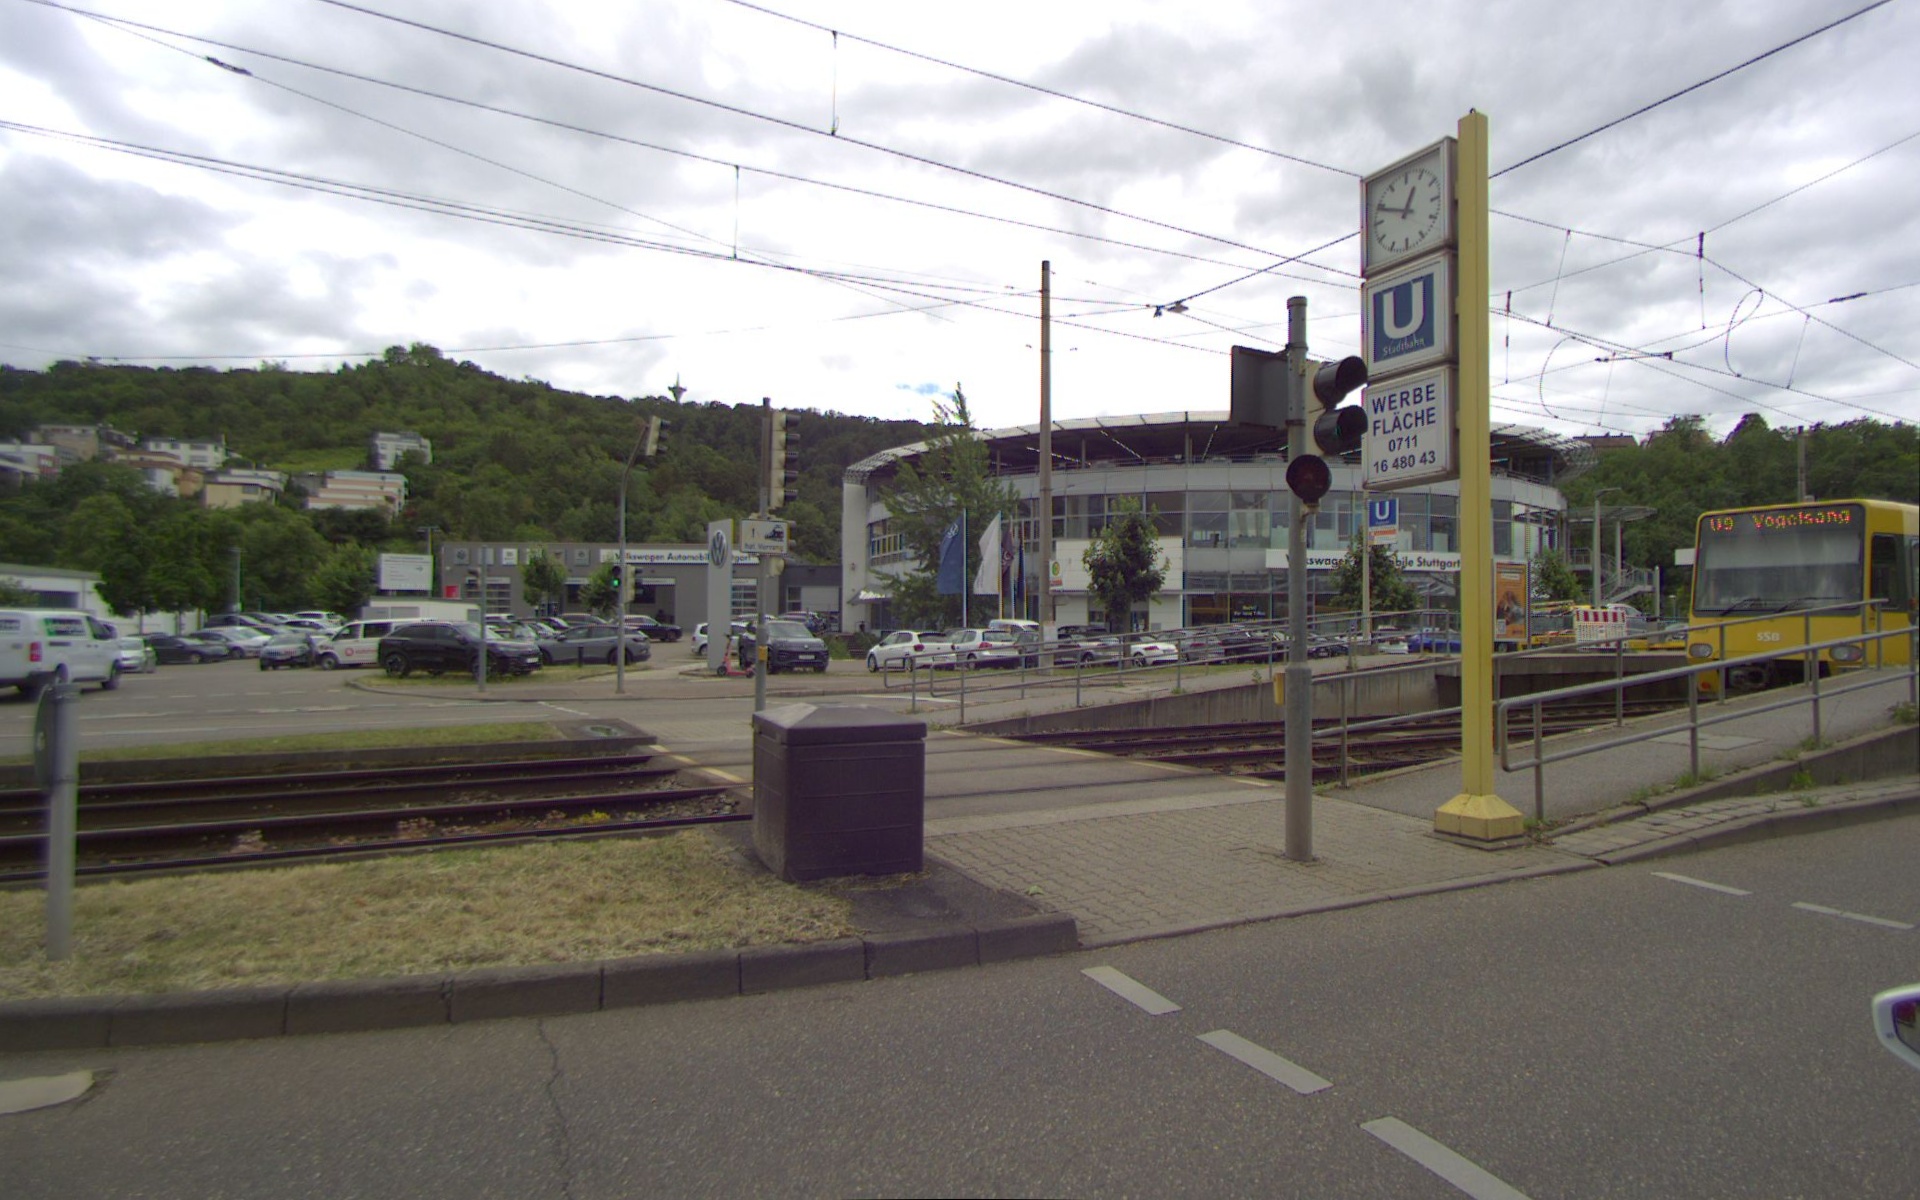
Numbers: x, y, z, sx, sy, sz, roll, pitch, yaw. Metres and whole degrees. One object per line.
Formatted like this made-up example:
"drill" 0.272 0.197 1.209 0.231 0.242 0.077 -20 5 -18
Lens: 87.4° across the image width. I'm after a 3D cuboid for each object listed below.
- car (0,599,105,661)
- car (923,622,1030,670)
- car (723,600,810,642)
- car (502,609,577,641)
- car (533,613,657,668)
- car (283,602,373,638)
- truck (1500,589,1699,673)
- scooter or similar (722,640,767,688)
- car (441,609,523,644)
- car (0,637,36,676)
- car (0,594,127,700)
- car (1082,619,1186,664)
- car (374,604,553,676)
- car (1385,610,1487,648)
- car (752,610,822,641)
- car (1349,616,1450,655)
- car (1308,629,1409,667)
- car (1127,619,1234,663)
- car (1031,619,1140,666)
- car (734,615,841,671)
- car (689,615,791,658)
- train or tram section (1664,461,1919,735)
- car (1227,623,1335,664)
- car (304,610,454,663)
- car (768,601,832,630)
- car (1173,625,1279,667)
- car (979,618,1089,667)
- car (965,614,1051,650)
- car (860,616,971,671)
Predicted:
"car" -36.885 1.145 39.650 4.468 2.272 1.980 5 -4 -36
"car" 0.510 1.581 35.259 1.796 1.496 3.964 5 -4 -33
"car" -10.639 1.194 55.521 4.427 2.022 1.999 4 -3 -7
"car" -27.209 1.639 65.098 3.923 1.817 1.853 3 -3 -3
"car" -13.150 1.484 36.465 3.934 1.728 1.994 4 -3 -15
"car" -40.859 1.304 65.061 4.442 2.022 1.992 4 -3 -19
"truck" 25.848 1.242 40.481 8.892 3.118 2.685 1 -2 -28
"scooter or similar" -6.246 1.847 29.108 1.183 1.304 0.574 4 -3 -11
"car" -28.714 1.618 60.446 3.923 1.817 1.853 3 -3 -3
"car" -35.821 1.996 36.551 2.770 1.355 1.529 4 -3 -20
"car" -21.008 0.983 22.845 1.979 2.067 4.799 4 -1 -26
"car" 6.702 1.583 39.052 1.711 1.574 3.964 5 -4 -33
"car" -13.516 1.047 27.471 3.919 1.662 2.001 3 1 8
"car" 21.983 1.342 46.531 1.901 1.574 3.976 5 -3 -24
"car" -11.550 1.752 67.187 4.427 1.751 1.998 4 -3 -7
"car" 20.007 1.622 45.849 1.901 1.574 3.976 5 -3 -24
"car" 17.583 2.082 44.505 1.901 1.574 3.976 0 -2 -24
"car" 8.735 1.598 40.099 1.907 1.574 3.964 5 -4 -33
"car" 4.633 1.574 37.581 1.907 1.574 3.964 5 -4 -33
"car" -5.597 1.361 32.179 1.979 1.661 3.964 2 -2 -33
"car" -10.420 1.779 47.848 4.425 1.751 1.999 3 -3 -4
"train or tram section" 17.806 -0.003 18.825 11.767 4.019 2.729 0 -1 -30
"car" 13.252 1.752 41.668 1.907 1.575 3.964 -1 -1 -33
"car" -23.635 1.508 41.020 4.920 2.040 2.000 -1 -3 -2
"car" -11.485 1.162 72.426 4.427 1.751 1.998 4 -3 -7
"car" 10.817 1.839 41.100 1.907 1.575 3.964 0 -1 -33
"car" 2.596 1.497 36.182 1.907 1.574 3.964 5 -4 -33
"car" 2.290 1.528 48.581 1.913 1.574 3.952 6 -4 -41
"car" -1.586 1.463 34.210 1.979 1.661 3.964 5 -4 -33
